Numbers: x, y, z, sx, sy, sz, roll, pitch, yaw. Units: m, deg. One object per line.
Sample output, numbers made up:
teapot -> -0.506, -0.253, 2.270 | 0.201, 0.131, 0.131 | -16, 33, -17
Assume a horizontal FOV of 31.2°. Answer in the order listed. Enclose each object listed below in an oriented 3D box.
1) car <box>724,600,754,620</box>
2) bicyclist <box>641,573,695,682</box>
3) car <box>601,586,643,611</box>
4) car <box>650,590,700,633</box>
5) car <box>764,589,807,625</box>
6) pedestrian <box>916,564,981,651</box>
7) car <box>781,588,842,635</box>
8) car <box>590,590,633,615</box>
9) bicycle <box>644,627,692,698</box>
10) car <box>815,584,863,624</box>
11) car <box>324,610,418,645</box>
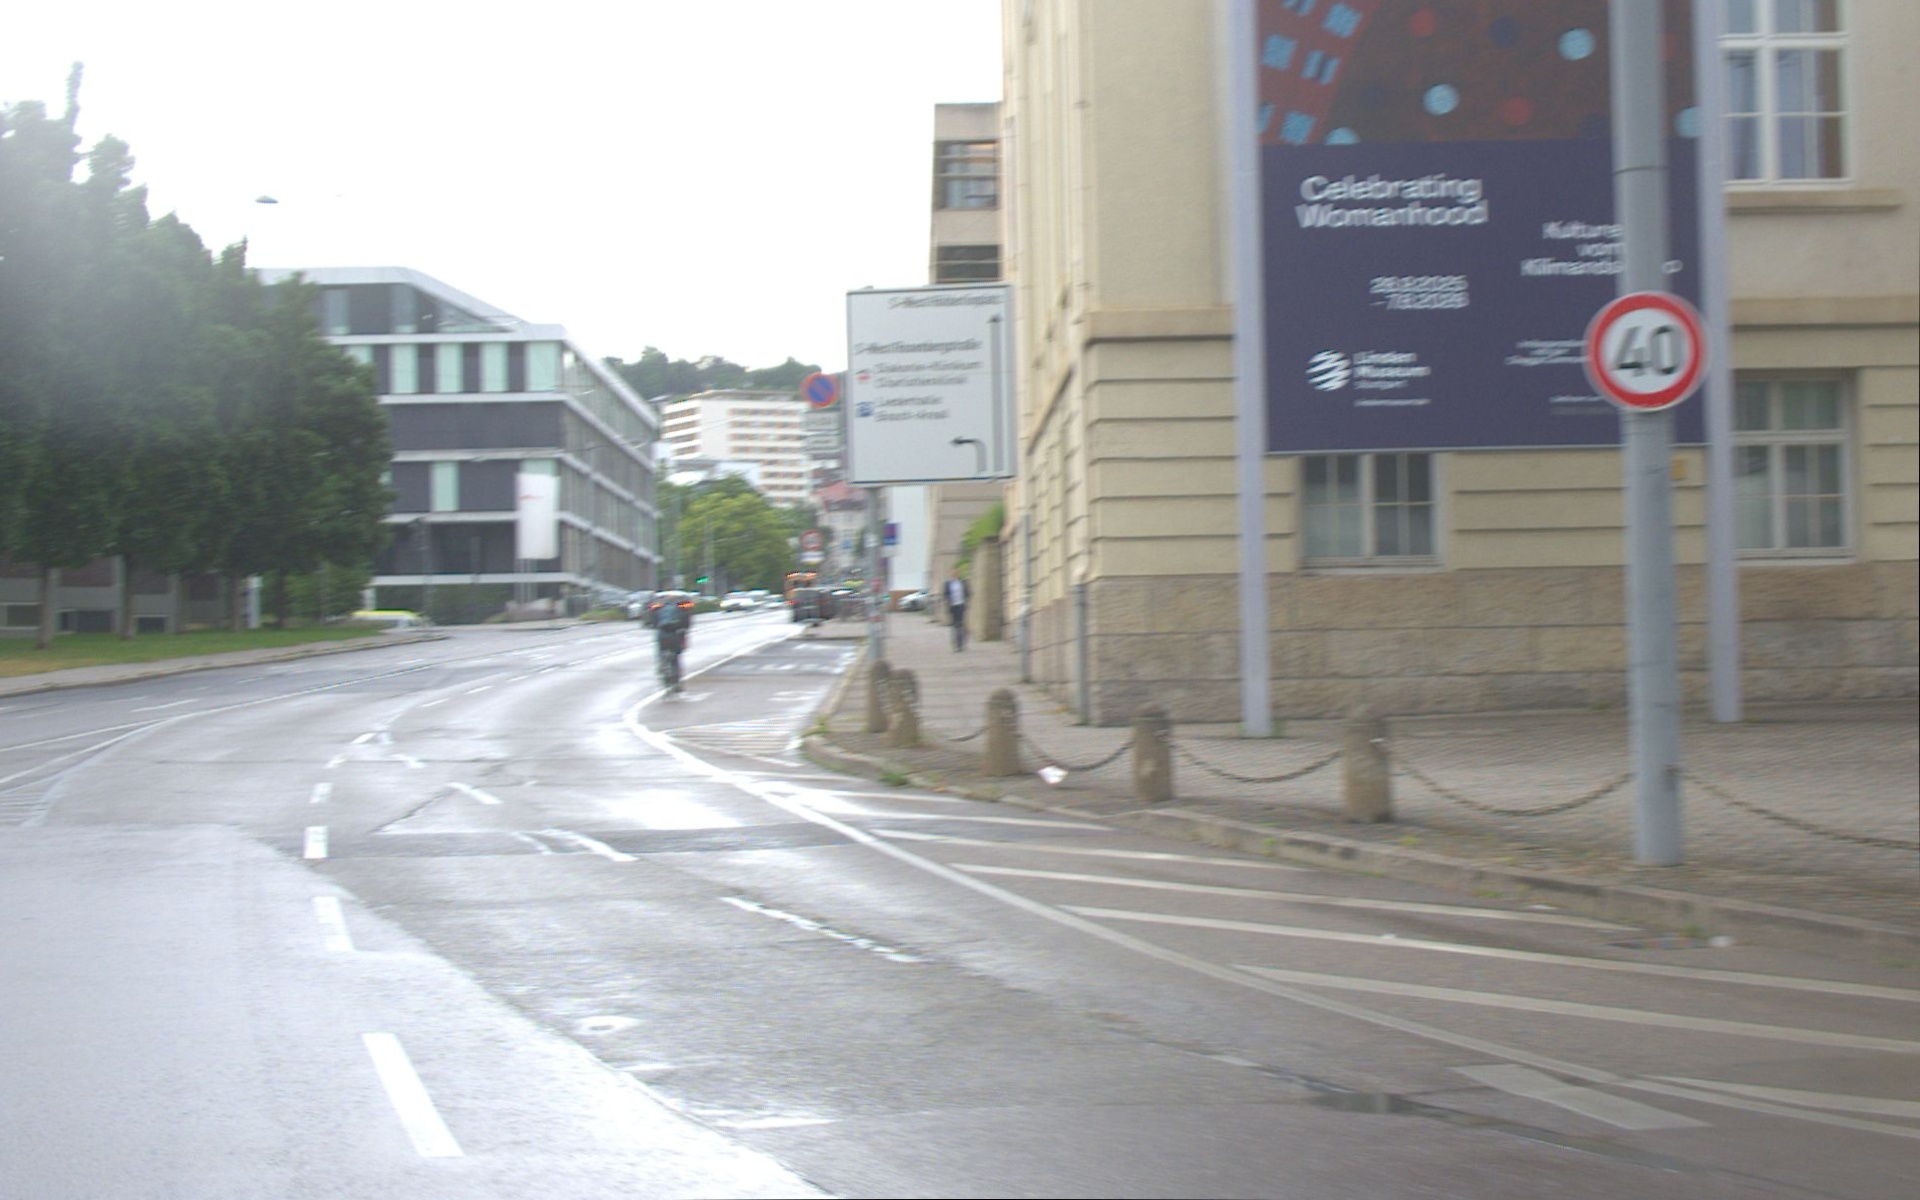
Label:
car -> -16.136, 0.742, 250.966 | 1.839, 1.349, 3.416 | 1, 2, 3
bicyclist -> -4.407, 0.408, 51.954 | 0.700, 1.627, 1.128 | 1, 0, 0
car -> -18.837, -0.087, 191.592 | 1.839, 1.231, 3.416 | 1, 2, 3
car -> -11.666, 0.454, 141.055 | 1.892, 1.620, 3.647 | 0, 2, -3
car -> -8.269, 0.330, 163.285 | 1.839, 1.554, 4.000 | 0, 2, 0
pedestrian -> -0.242, 0.164, 73.426 | 1.240, 1.782, 1.595 | -3, 0, 2
car -> -5.298, 0.389, 123.216 | 1.839, 1.554, 4.000 | 1, 2, 3
car -> -18.962, 0.109, 186.991 | 1.839, 1.231, 3.416 | 1, 2, 3
bicycle -> -4.406, 0.934, 51.943 | 0.646, 1.053, 1.821 | 0, -1, -2
car -> -4.999, 0.154, 142.699 | 1.839, 1.554, 4.000 | 0, 2, 0
car -> -34.929, 1.650, 204.012 | 5.227, 2.007, 2.000 | 1, 0, -1
